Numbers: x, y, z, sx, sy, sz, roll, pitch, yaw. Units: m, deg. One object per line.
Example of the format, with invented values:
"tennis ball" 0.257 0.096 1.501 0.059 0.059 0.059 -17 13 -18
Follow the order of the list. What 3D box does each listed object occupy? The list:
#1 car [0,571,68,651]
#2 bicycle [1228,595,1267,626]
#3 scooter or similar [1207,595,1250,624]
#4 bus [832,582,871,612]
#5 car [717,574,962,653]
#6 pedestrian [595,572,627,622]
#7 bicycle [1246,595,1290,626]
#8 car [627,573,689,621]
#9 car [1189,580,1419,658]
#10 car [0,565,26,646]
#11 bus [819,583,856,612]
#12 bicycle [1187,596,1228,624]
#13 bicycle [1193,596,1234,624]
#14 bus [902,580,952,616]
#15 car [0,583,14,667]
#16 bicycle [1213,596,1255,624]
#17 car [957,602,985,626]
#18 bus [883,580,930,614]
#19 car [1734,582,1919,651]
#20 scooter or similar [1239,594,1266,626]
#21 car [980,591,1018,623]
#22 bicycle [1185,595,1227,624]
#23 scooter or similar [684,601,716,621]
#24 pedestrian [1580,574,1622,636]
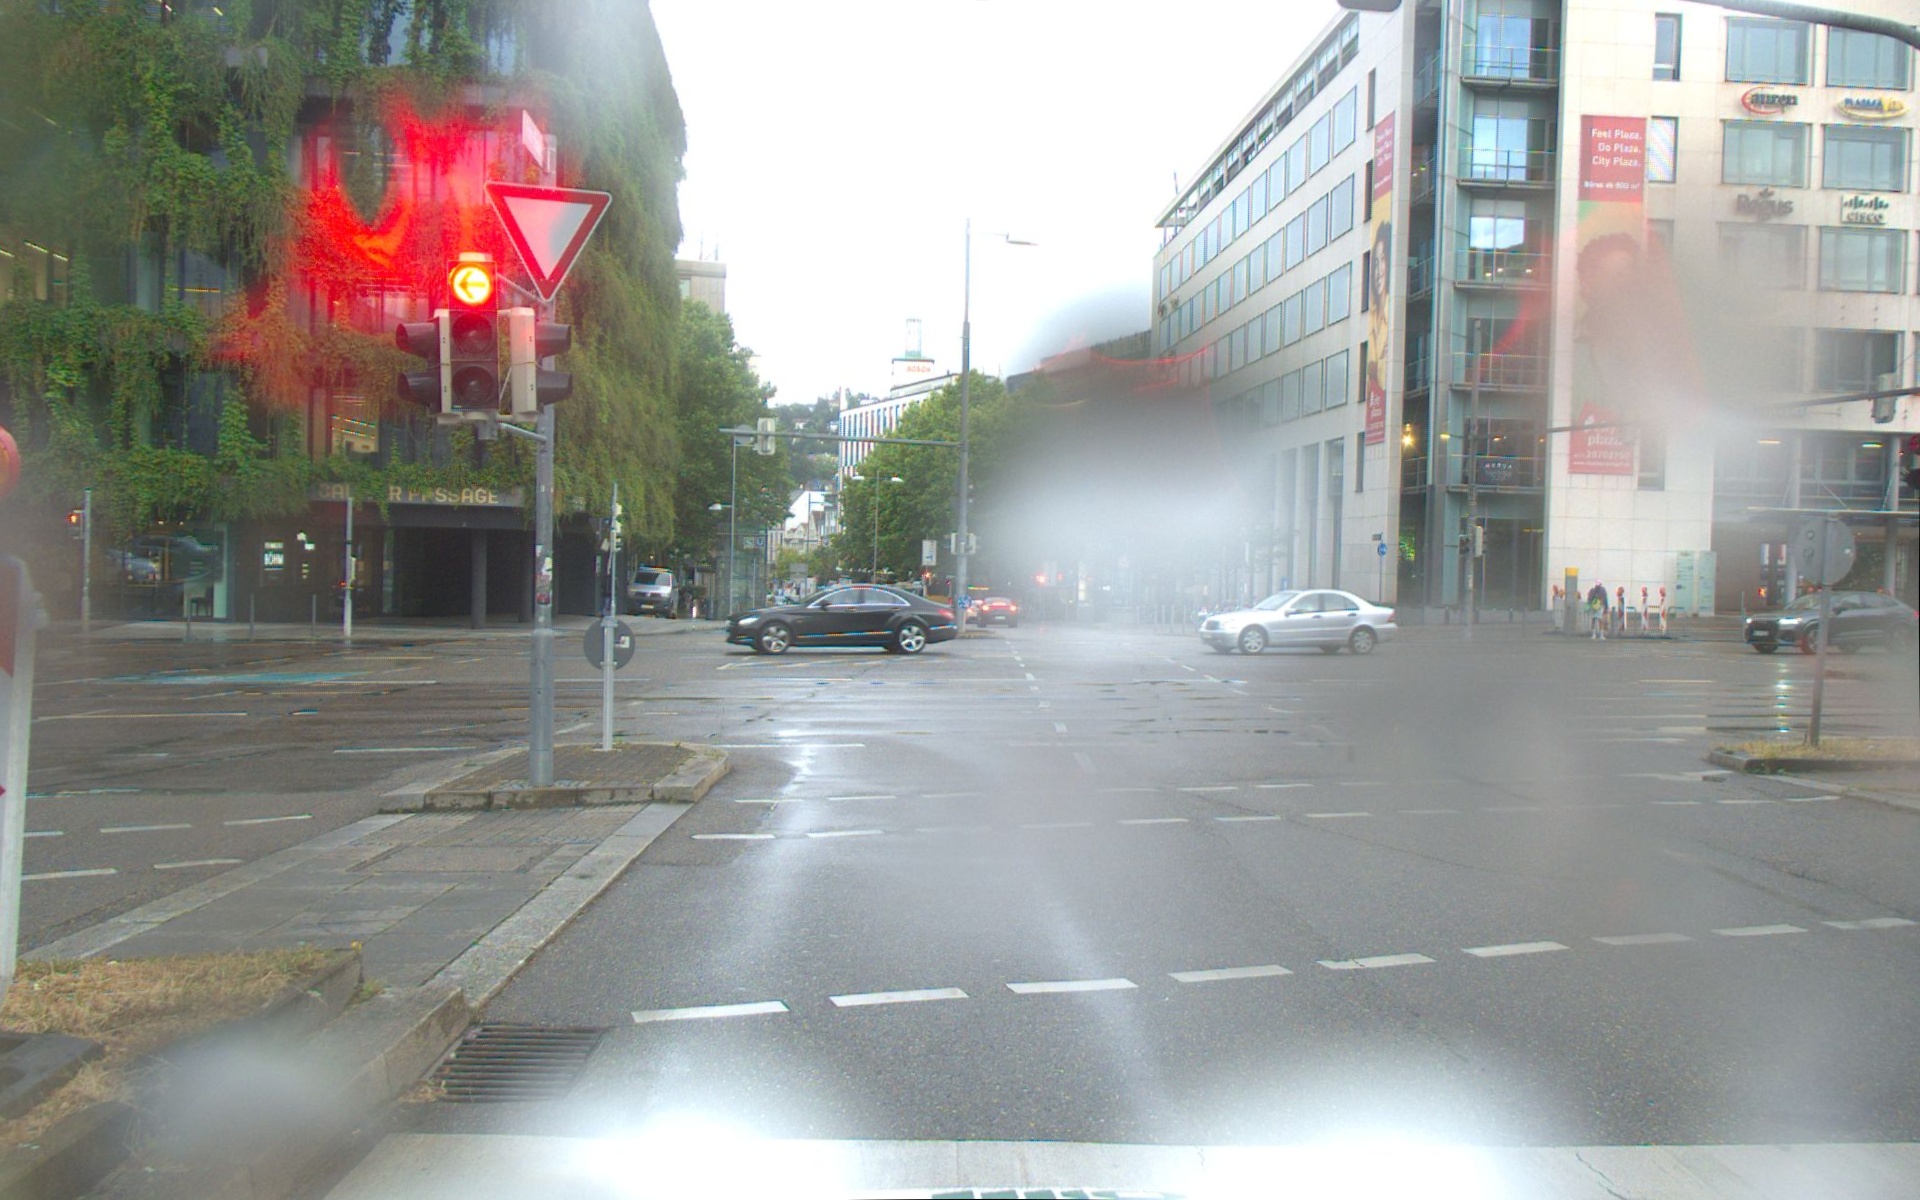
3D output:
"car" -20.234 0.184 32.331 4.608 1.539 1.802 1 0 -17
"bicycle" 11.579 0.407 66.570 0.578 1.215 1.766 1 0 -28
"scooter or similar" 11.541 0.425 71.156 1.741 1.215 0.586 1 -1 1
"bus" -11.359 -0.309 173.067 2.585 3.048 7.296 0 0 -16
"car" -2.516 0.303 34.368 4.771 1.503 1.990 1 -2 -18
"pedestrian" -11.804 -0.090 55.948 0.915 1.673 0.774 1 -1 -1
"bicycle" 12.116 0.409 65.026 1.590 1.215 0.586 1 -1 25
"car" -12.394 -0.112 68.145 1.832 1.871 3.999 1 0 -1
"car" 7.689 0.424 37.122 4.638 1.503 1.993 3 0 -14
"car" -22.114 0.026 34.096 4.606 1.654 1.803 2 -1 -16
"bus" -13.357 -0.324 180.134 2.585 3.048 7.417 0 0 -16
"bicycle" 10.999 0.426 73.574 1.741 1.215 0.586 1 -1 1
"bicycle" 11.415 0.437 74.498 1.741 1.215 0.586 1 -1 1
"bus" -2.983 -0.224 145.903 2.585 3.048 7.417 0 0 -16
"car" -19.740 0.402 29.496 4.608 1.539 1.802 2 -1 -17
"bicycle" 11.886 0.434 71.784 1.741 1.215 0.586 1 -1 1
"car" 0.687 0.904 106.791 1.745 1.534 3.999 1 0 -1
"bus" -4.980 -0.281 153.019 2.585 3.048 7.417 0 0 -16
"car" 21.850 0.420 41.418 4.402 1.637 1.823 1 0 -17
"scooter or similar" 11.380 0.394 64.330 0.946 1.215 0.453 1 -1 40
"car" 1.929 0.356 82.561 1.745 1.534 3.999 1 0 -1
"bicycle" 10.856 0.421 72.937 1.741 1.215 0.586 1 -1 1
"scooter or similar" -12.942 0.542 82.344 0.612 1.022 1.653 1 0 37
"pedestrian" 19.387 0.145 50.050 0.942 1.848 0.836 1 -1 -1
